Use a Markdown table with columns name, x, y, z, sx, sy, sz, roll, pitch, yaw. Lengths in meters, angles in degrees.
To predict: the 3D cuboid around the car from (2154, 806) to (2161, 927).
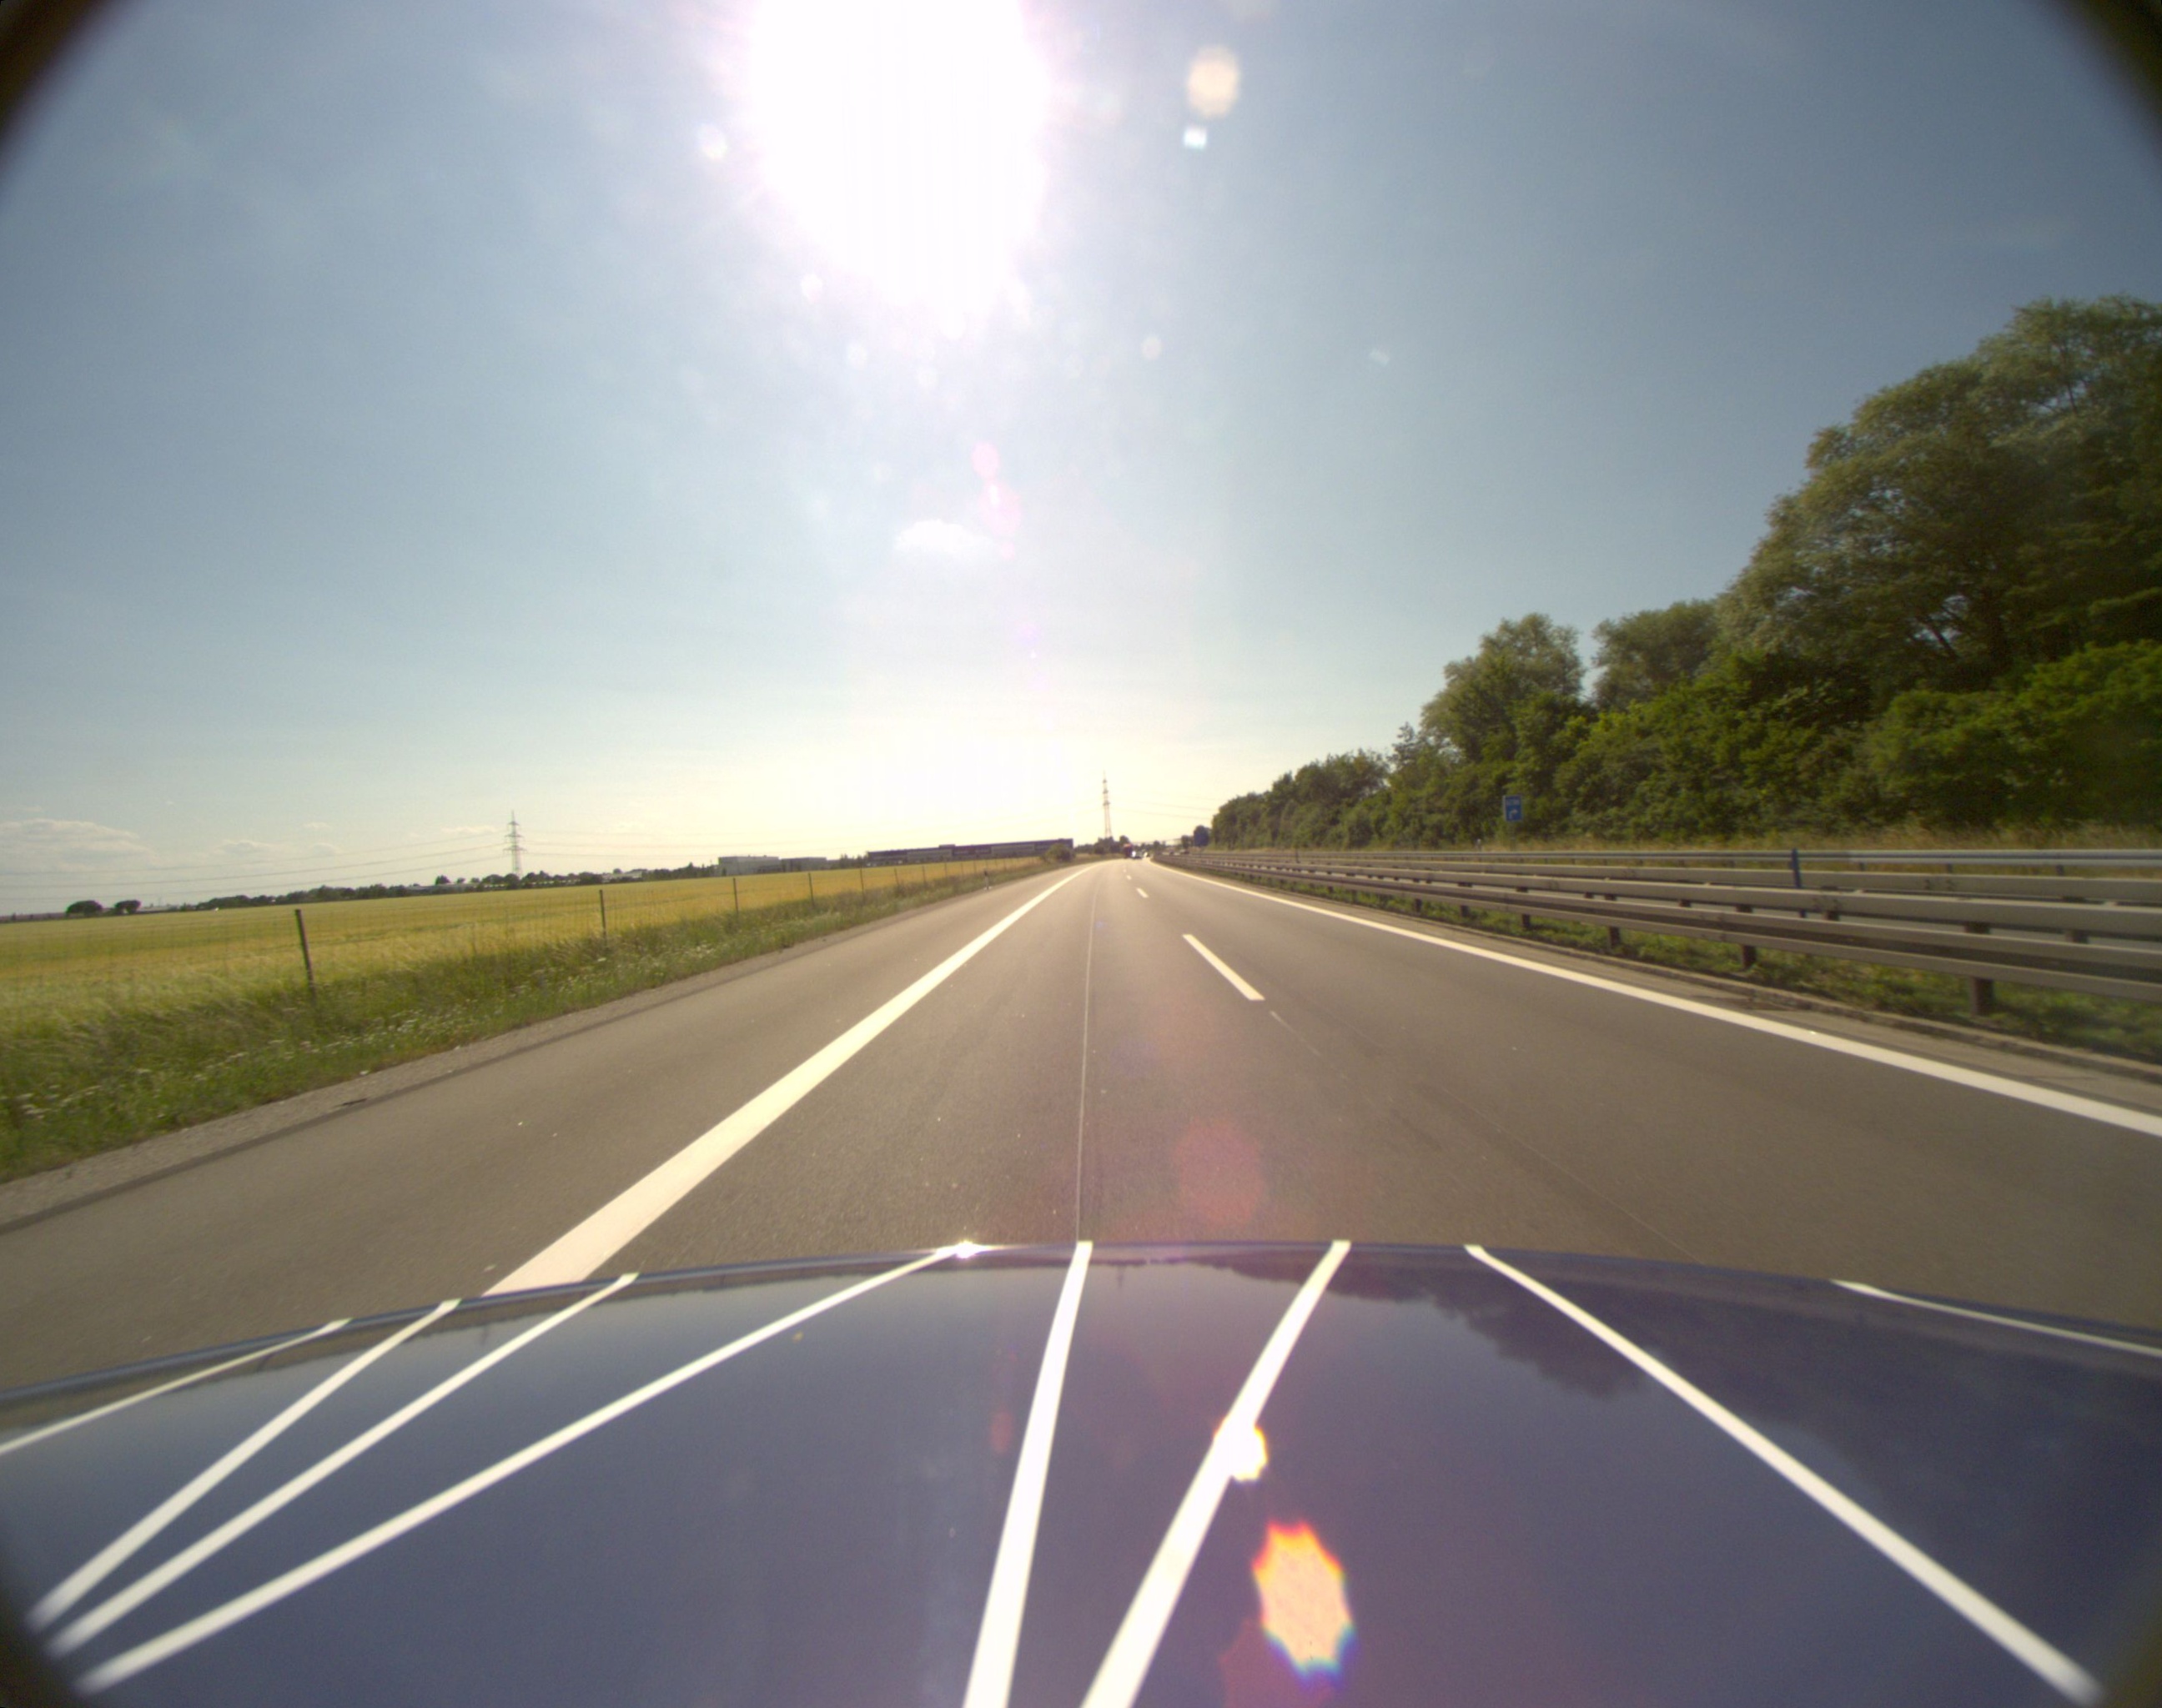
| name | x | y | z | sx | sy | sz | roll | pitch | yaw |
| --- | --- | --- | --- | --- | --- | --- | --- | --- | --- |
| car | 14.709 | 0.136 | 7.499 | 1.755 | 1.556 | 4.580 | -3 | 0 | 1 |

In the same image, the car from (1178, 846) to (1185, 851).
| name | x | y | z | sx | sy | sz | roll | pitch | yaw |
| --- | --- | --- | --- | --- | --- | --- | --- | --- | --- |
| car | 33.413 | -1.900 | 252.148 | 1.998 | 1.603 | 4.638 | -3 | 0 | 5 |

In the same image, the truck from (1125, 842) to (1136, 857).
| name | x | y | z | sx | sy | sz | roll | pitch | yaw |
| --- | --- | --- | --- | --- | --- | --- | --- | --- | --- |
| truck | 13.715 | -1.260 | 210.173 | 2.570 | 3.938 | 8.646 | -5 | 0 | 5 |

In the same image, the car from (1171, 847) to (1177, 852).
| name | x | y | z | sx | sy | sz | roll | pitch | yaw |
| --- | --- | --- | --- | --- | --- | --- | --- | --- | --- |
| car | 30.483 | -1.442 | 248.027 | 1.653 | 1.484 | 4.540 | -3 | 0 | 4 |

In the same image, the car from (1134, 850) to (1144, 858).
| name | x | y | z | sx | sy | sz | roll | pitch | yaw |
| --- | --- | --- | --- | --- | --- | --- | --- | --- | --- |
| car | 12.045 | -0.006 | 157.294 | 1.860 | 1.361 | 4.001 | -3 | 1 | 5 |

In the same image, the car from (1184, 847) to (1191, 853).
| name | x | y | z | sx | sy | sz | roll | pitch | yaw |
| --- | --- | --- | --- | --- | --- | --- | --- | --- | --- |
| car | 30.203 | -1.145 | 214.913 | 1.653 | 1.484 | 4.540 | -3 | 0 | 4 |
